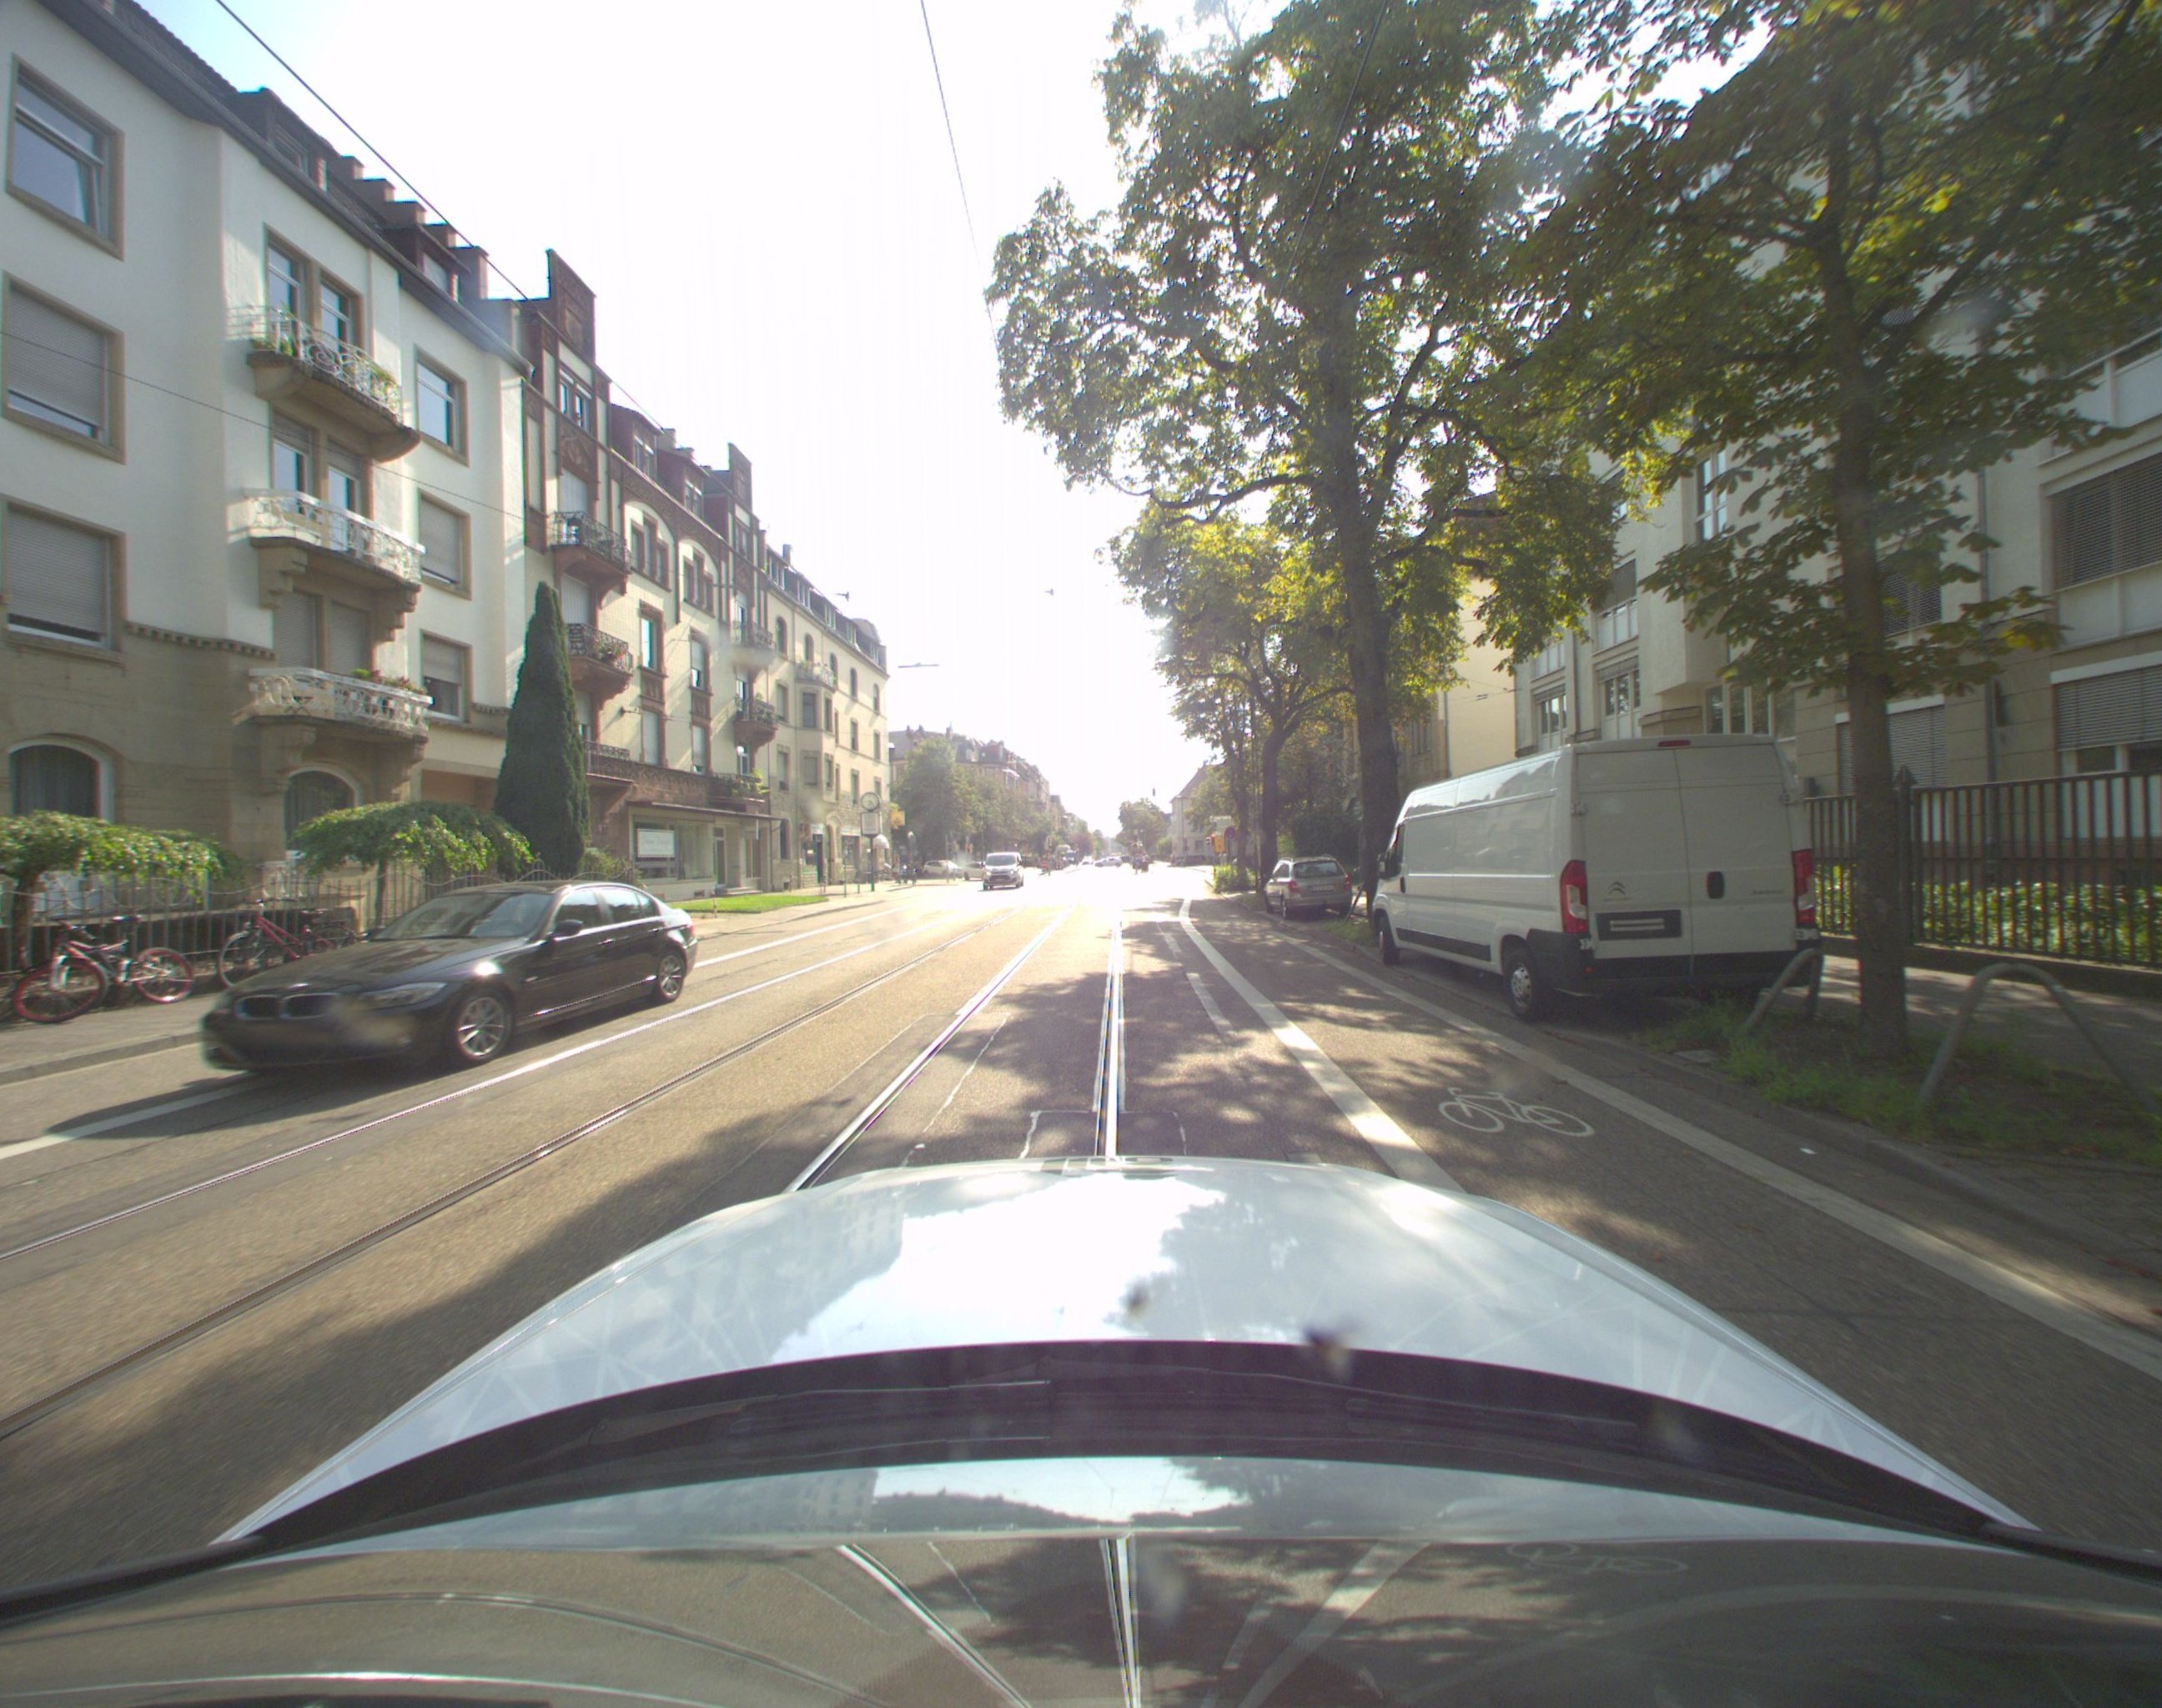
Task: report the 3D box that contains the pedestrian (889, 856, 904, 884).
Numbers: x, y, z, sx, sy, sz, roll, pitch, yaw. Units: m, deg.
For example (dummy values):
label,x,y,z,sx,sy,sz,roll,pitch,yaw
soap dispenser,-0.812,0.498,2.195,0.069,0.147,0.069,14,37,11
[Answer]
label,x,y,z,sx,sy,sz,roll,pitch,yaw
pedestrian,-12.368,1.056,54.650,0.771,1.859,0.830,-1,-1,1

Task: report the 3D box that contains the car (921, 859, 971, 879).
label,x,y,z,sx,sy,sz,roll,pitch,yaw
car,-11.816,1.287,71.119,4.276,1.630,2.013,-2,0,40

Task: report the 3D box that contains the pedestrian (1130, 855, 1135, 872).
label,x,y,z,sx,sy,sz,roll,pitch,yaw
pedestrian,5.639,1.051,88.845,0.530,1.759,0.545,1,2,4

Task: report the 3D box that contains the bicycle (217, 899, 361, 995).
label,x,y,z,sx,sy,sz,roll,pitch,yaw
bicycle,-10.339,1.179,10.693,0.368,1.088,1.489,-2,0,2

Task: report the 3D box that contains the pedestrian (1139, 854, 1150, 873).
label,x,y,z,sx,sy,sz,roll,pitch,yaw
pedestrian,5.706,0.852,73.604,0.693,1.725,0.753,2,2,36

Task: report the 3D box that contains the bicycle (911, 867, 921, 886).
label,x,y,z,sx,sy,sz,roll,pitch,yaw
bicycle,-10.658,1.446,52.703,0.452,1.226,1.853,-2,0,-6

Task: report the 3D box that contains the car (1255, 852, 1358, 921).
label,x,y,z,sx,sy,sz,roll,pitch,yaw
car,5.805,0.778,21.440,1.600,1.524,4.360,-5,-1,3

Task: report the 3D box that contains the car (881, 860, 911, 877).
label,x,y,z,sx,sy,sz,roll,pitch,yaw
car,-17.414,1.351,76.369,1.872,1.466,4.749,-1,0,-24

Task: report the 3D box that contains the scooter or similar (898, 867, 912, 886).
label,x,y,z,sx,sy,sz,roll,pitch,yaw
scooter or similar,-11.261,1.451,52.193,0.368,1.197,1.021,-1,-1,-43

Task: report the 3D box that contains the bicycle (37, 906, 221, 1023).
label,x,y,z,sx,sy,sz,roll,pitch,yaw
bicycle,-10.343,1.163,8.915,0.368,1.088,1.356,-2,0,2

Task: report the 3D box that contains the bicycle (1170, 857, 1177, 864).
label,x,y,z,sx,sy,sz,roll,pitch,yaw
bicycle,11.898,0.840,104.730,0.626,0.978,1.771,-2,0,2

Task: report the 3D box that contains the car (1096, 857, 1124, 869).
label,x,y,z,sx,sy,sz,roll,pitch,yaw
car,4.130,1.227,116.377,3.948,1.552,2.002,-2,0,3

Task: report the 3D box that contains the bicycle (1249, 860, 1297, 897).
label,x,y,z,sx,sy,sz,roll,pitch,yaw
bicycle,6.866,0.858,29.099,1.851,1.166,0.499,-4,-5,-38

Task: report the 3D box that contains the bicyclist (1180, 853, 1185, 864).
label,x,y,z,sx,sy,sz,roll,pitch,yaw
bicyclist,13.004,0.578,104.129,0.556,1.417,0.872,-2,0,2

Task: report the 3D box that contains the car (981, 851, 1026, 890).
label,x,y,z,sx,sy,sz,roll,pitch,yaw
car,-4.235,0.867,45.281,1.987,2.013,4.858,-2,0,0

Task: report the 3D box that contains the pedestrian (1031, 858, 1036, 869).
label,x,y,z,sx,sy,sz,roll,pitch,yaw
pedestrian,-7.476,1.467,128.157,0.527,1.759,0.548,2,2,29

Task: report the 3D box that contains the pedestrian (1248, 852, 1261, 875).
label,x,y,z,sx,sy,sz,roll,pitch,yaw
pedestrian,13.330,0.757,62.534,0.749,1.731,0.770,-1,-1,-6

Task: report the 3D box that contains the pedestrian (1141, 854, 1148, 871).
label,x,y,z,sx,sy,sz,roll,pitch,yaw
pedestrian,6.724,0.904,86.746,0.706,1.759,0.534,1,2,3

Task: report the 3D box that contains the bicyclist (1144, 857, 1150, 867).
label,x,y,z,sx,sy,sz,roll,pitch,yaw
bicyclist,9.447,1.126,116.464,0.814,1.328,0.550,-2,0,9

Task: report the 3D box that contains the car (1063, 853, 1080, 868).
label,x,y,z,sx,sy,sz,roll,pitch,yaw
car,-1.736,1.140,150.207,2.335,2.662,5.115,-2,-1,7

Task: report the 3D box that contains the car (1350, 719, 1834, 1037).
label,x,y,z,sx,sy,sz,roll,pitch,yaw
car,5.156,0.209,9.713,2.037,2.498,6.233,-2,0,3

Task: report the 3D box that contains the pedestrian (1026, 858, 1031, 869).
label,x,y,z,sx,sy,sz,roll,pitch,yaw
pedestrian,-8.275,1.501,127.676,0.527,1.690,0.548,2,2,32

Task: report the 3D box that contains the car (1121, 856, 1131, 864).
label,x,y,z,sx,sy,sz,roll,pitch,yaw
car,8.861,1.160,160.554,1.793,1.653,3.646,-2,0,4

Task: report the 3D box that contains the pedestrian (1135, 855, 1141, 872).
label,x,y,z,sx,sy,sz,roll,pitch,yaw
pedestrian,6.113,1.035,87.399,0.540,1.759,0.534,1,2,3

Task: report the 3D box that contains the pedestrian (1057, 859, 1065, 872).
label,x,y,z,sx,sy,sz,roll,pitch,yaw
pedestrian,-2.210,1.259,90.679,0.825,1.359,0.776,-1,-1,-1

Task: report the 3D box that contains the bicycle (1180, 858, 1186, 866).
label,x,y,z,sx,sy,sz,roll,pitch,yaw
bicycle,13.022,0.982,104.111,0.556,0.978,1.857,-2,0,2

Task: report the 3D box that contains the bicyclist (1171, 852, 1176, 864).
label,x,y,z,sx,sy,sz,roll,pitch,yaw
bicyclist,11.896,0.554,104.730,0.626,1.507,0.679,-2,-1,1

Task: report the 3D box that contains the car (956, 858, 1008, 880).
label,x,y,z,sx,sy,sz,roll,pitch,yaw
car,-7.926,1.202,64.990,2.011,1.630,4.280,-1,0,-41

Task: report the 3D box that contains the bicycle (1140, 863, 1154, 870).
label,x,y,z,sx,sy,sz,roll,pitch,yaw
bicycle,9.439,1.846,116.457,1.839,0.958,0.550,-2,0,9

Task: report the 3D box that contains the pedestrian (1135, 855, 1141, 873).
label,x,y,z,sx,sy,sz,roll,pitch,yaw
pedestrian,5.774,0.998,82.589,0.502,1.759,0.534,1,2,3

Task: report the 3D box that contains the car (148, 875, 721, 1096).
label,x,y,z,sx,sy,sz,roll,pitch,yaw
car,-5.403,0.952,7.835,1.690,1.403,4.648,0,0,2

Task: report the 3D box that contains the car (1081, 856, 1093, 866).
label,x,y,z,sx,sy,sz,roll,pitch,yaw
car,1.079,1.260,149.002,1.793,1.653,3.646,-2,0,4

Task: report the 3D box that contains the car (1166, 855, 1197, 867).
label,x,y,z,sx,sy,sz,roll,pitch,yaw
car,14.216,0.988,115.420,3.933,1.552,2.009,-2,0,17
